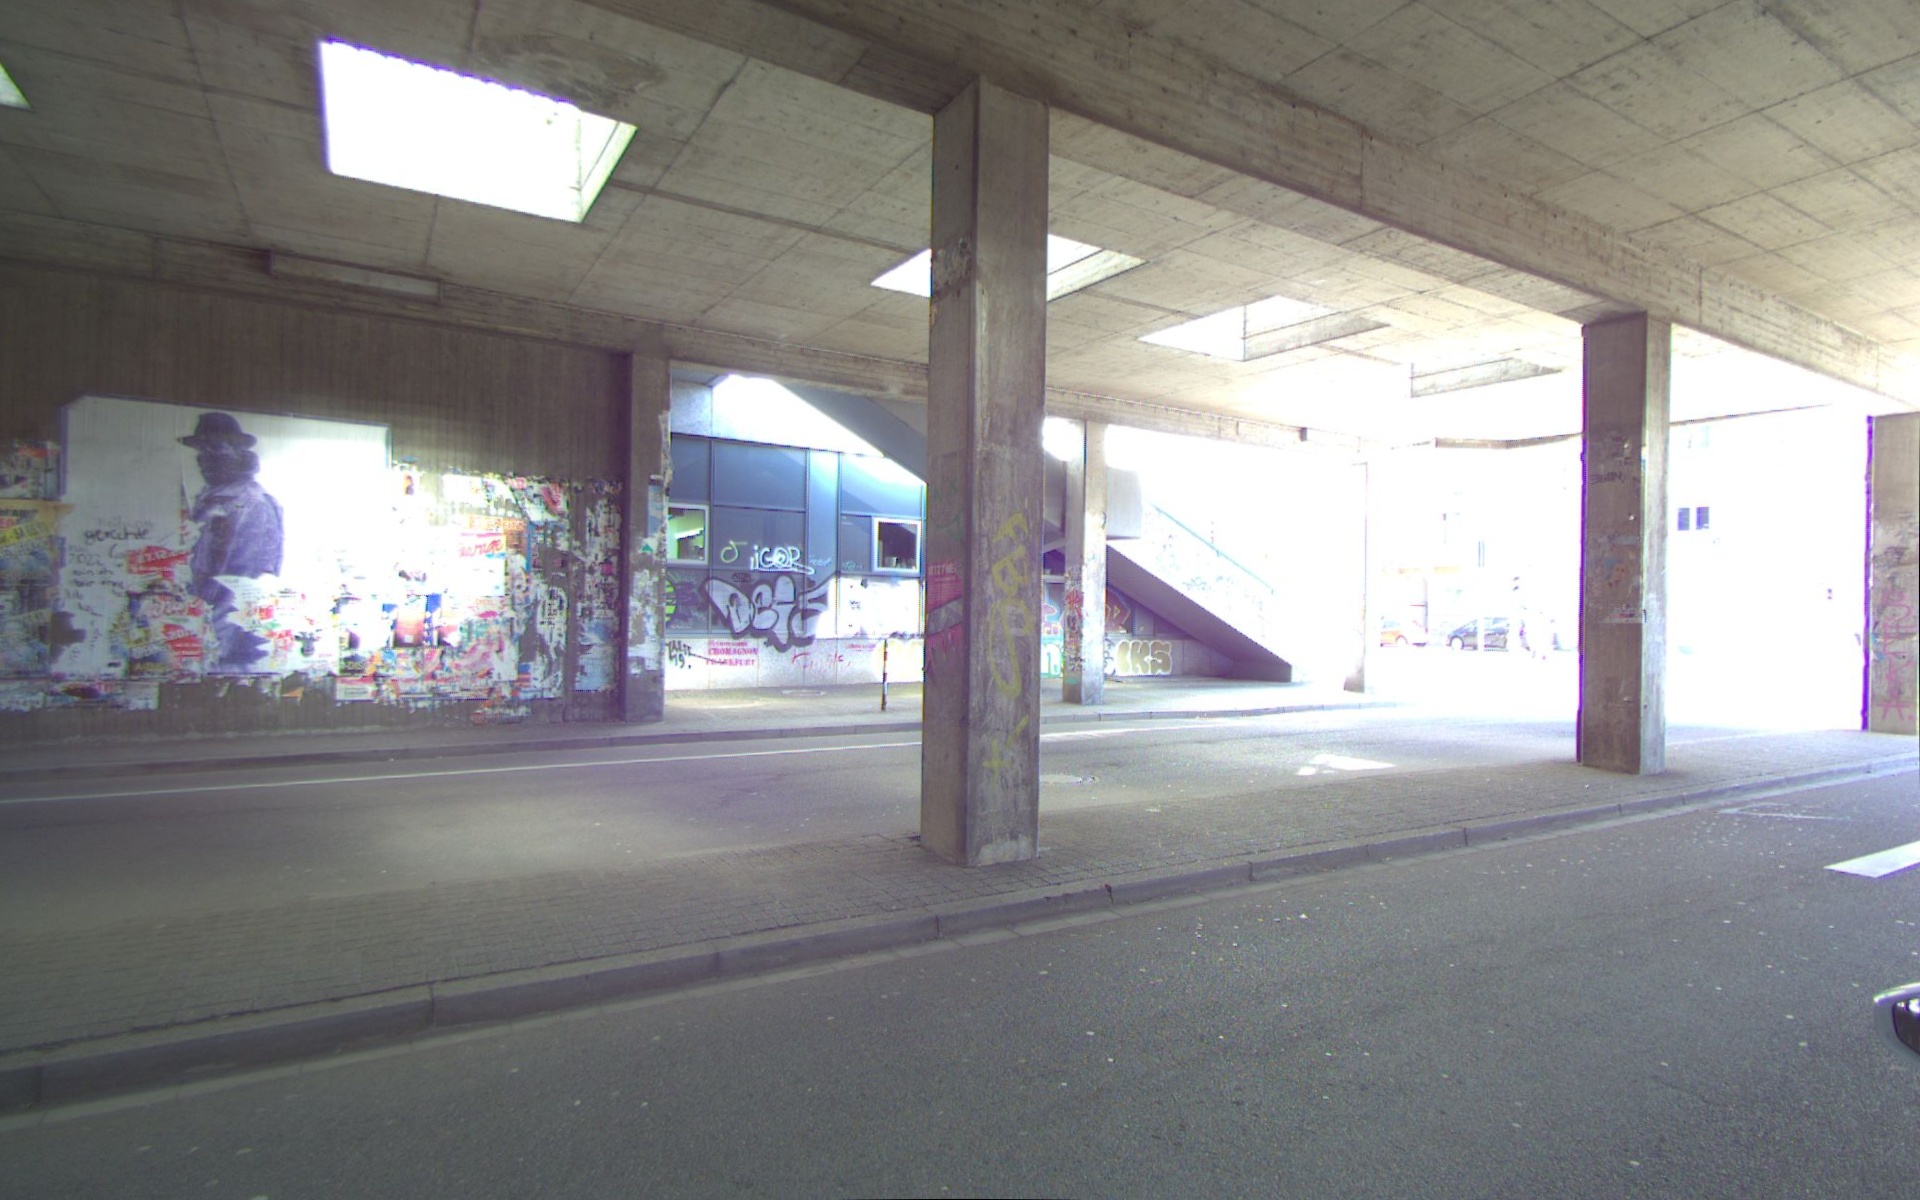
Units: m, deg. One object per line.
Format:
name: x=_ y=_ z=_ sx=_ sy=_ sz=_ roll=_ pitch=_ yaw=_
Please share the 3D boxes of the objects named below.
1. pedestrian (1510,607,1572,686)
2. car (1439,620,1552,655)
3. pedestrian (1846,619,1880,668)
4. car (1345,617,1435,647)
pedestrian: x=13.441 y=1.063 z=23.254 sx=0.784 sy=1.785 sz=0.925 roll=2 pitch=0 yaw=-28
car: x=25.442 y=1.768 z=47.831 sx=1.905 sy=1.428 sz=4.382 roll=2 pitch=0 yaw=-32
pedestrian: x=31.102 y=1.493 z=34.594 sx=0.732 sy=1.659 sz=0.669 roll=2 pitch=0 yaw=-30
car: x=22.495 y=1.668 z=52.713 sx=1.905 sy=1.428 sz=3.965 roll=2 pitch=0 yaw=-32
